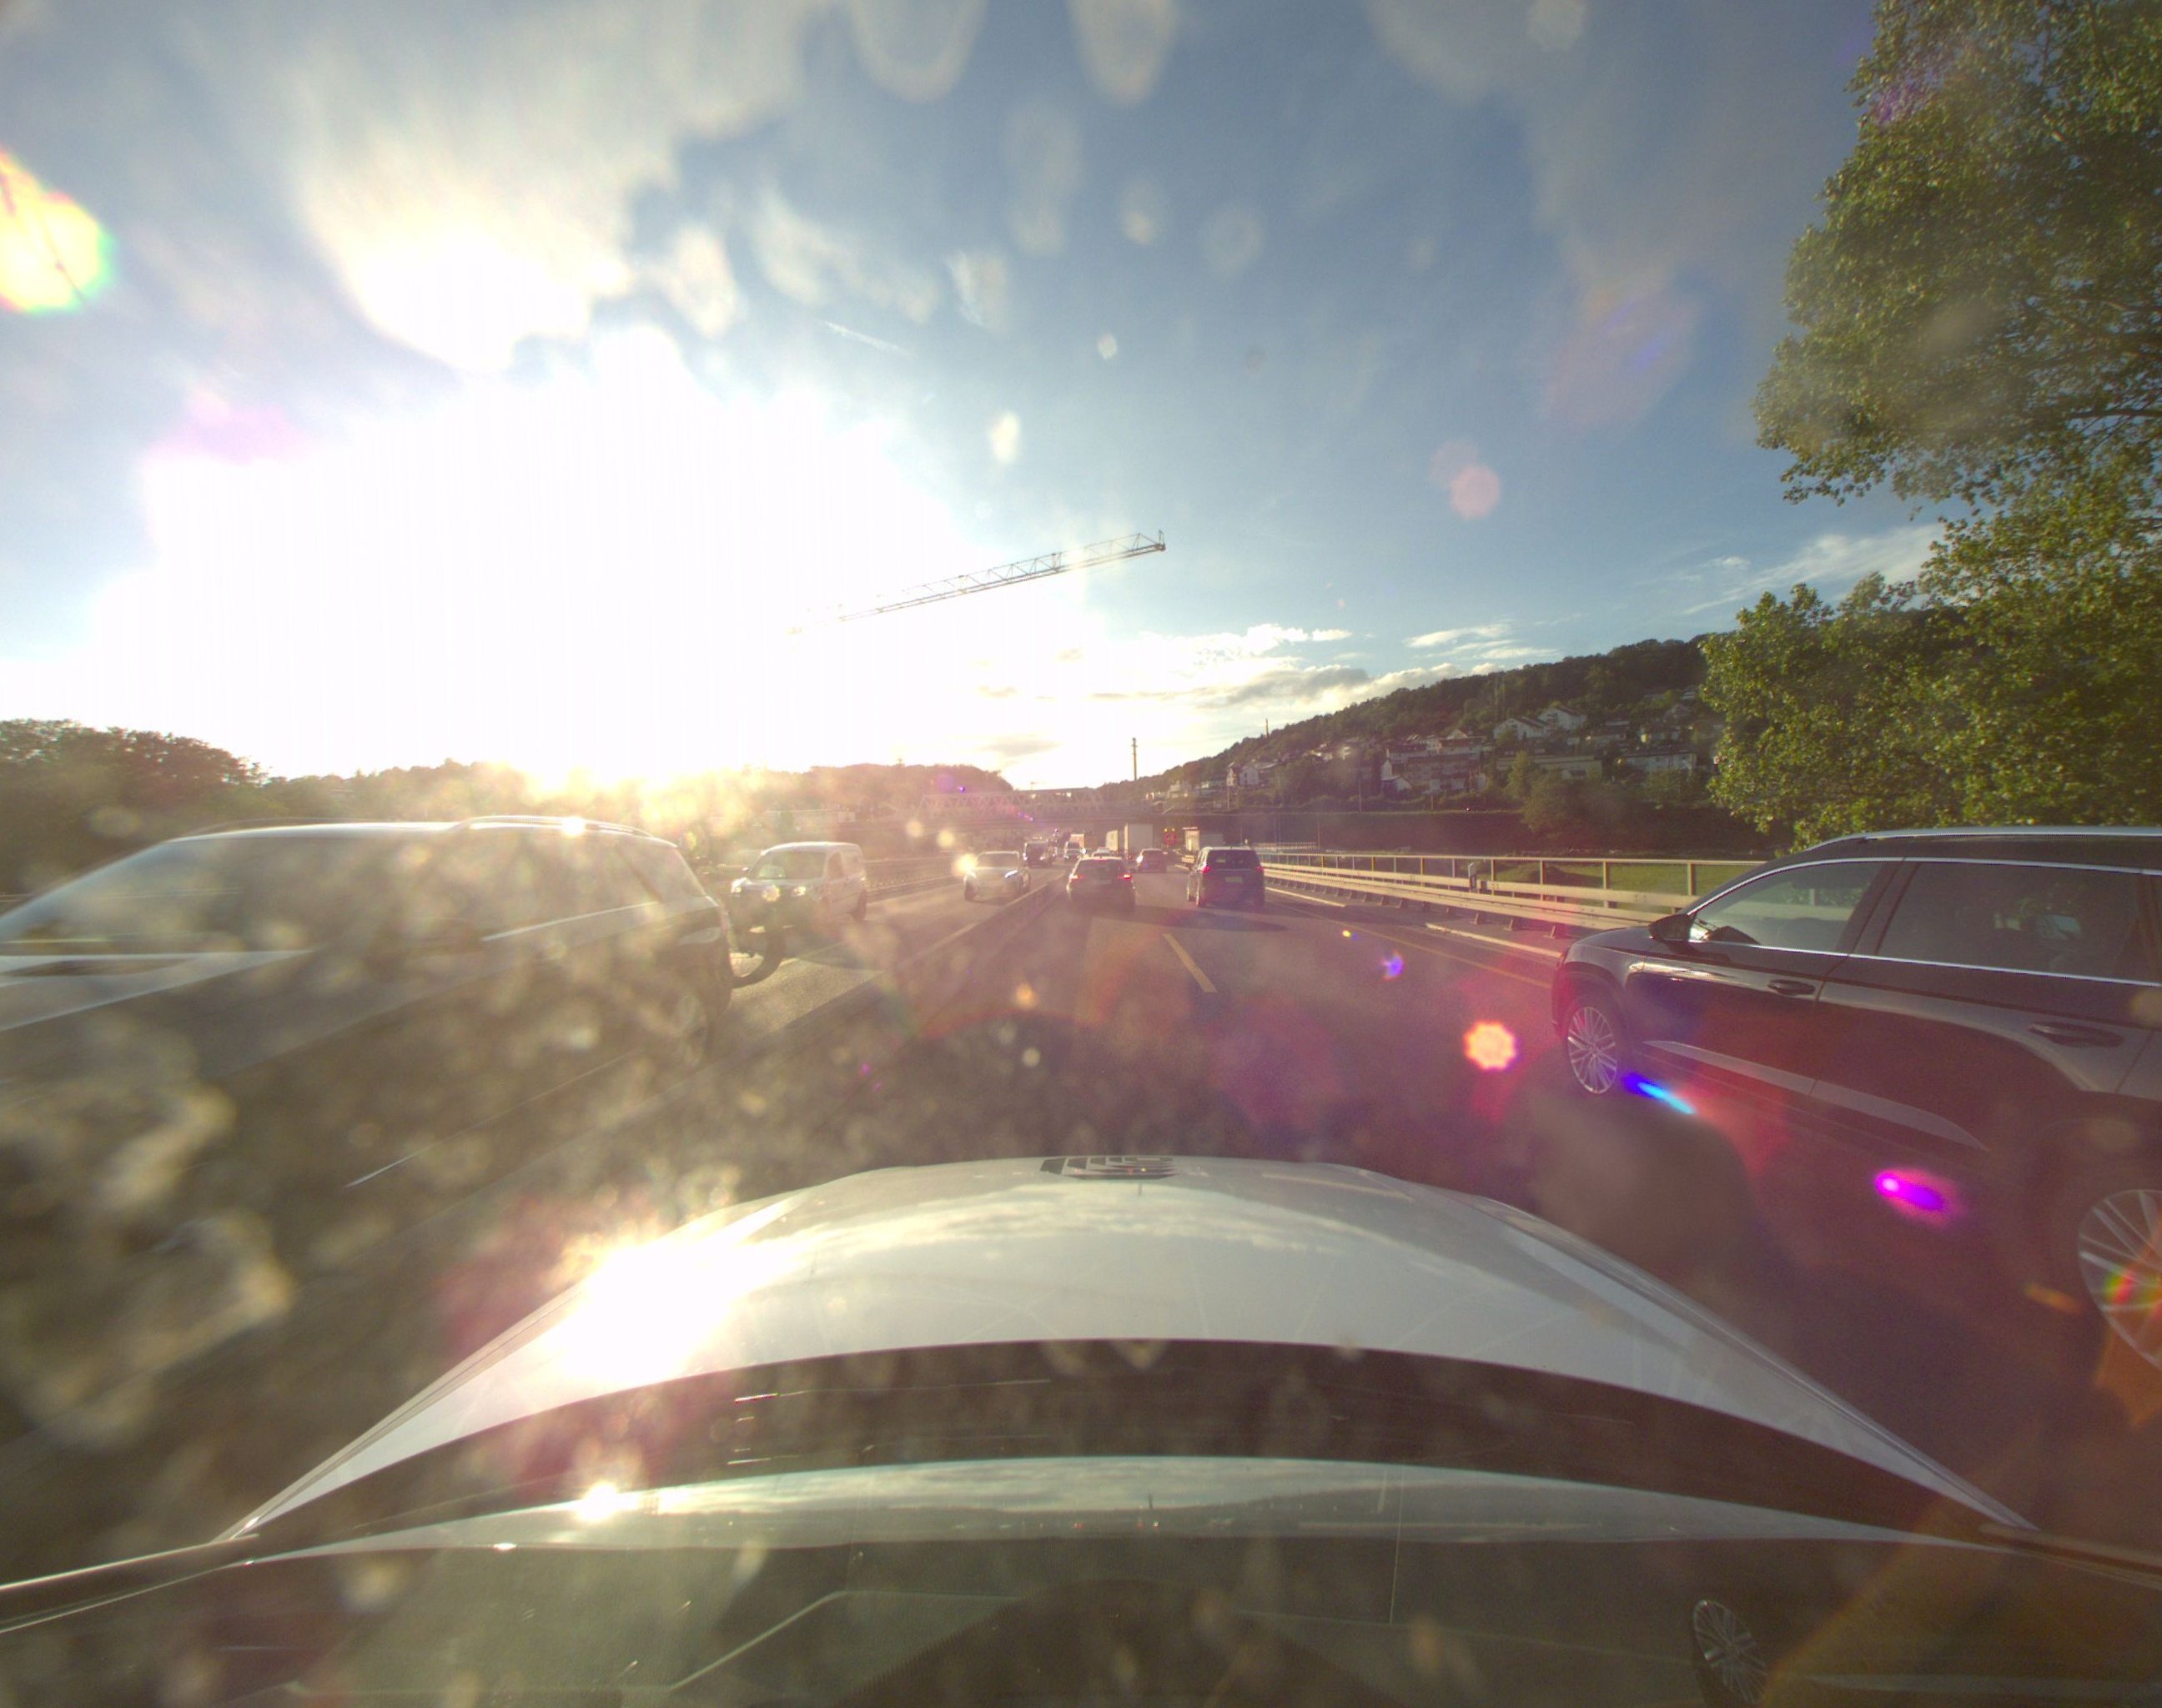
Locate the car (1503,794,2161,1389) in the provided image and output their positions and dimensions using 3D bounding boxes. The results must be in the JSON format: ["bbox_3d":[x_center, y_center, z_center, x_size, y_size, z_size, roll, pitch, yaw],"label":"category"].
[{"bbox_3d":[3.849,0.622,3.221,1.869,1.599,4.967,-1,0,1],"label":"car"}]

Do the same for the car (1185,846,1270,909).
[{"bbox_3d":[4.107,0.591,23.508,1.808,1.632,4.413,0,0,2],"label":"car"}]

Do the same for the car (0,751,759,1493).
[{"bbox_3d":[-3.506,0.628,4.070,1.923,1.754,4.672,0,0,0],"label":"car"}]

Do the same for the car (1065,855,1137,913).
[{"bbox_3d":[0.521,0.739,21.883,1.764,1.390,4.000,0,0,1],"label":"car"}]

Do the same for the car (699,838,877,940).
[{"bbox_3d":[-6.054,0.648,17.479,1.985,1.856,4.286,2,0,3],"label":"car"}]

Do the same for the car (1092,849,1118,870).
[{"bbox_3d":[1.664,0.374,58.493,1.759,1.486,4.000,1,0,0],"label":"car"}]

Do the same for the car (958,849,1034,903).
[{"bbox_3d":[-2.766,0.679,27.389,1.830,1.640,4.004,-2,0,4],"label":"car"}]

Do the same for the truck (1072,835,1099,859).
[{"bbox_3d":[0.803,-1.455,161.303,3.886,4.497,13.818,0,1,-7],"label":"truck"}]

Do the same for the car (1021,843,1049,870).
[{"bbox_3d":[-4.063,0.178,72.652,1.986,2.323,5.936,0,0,1],"label":"car"}]

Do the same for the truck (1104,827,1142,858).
[{"bbox_3d":[6.184,-1.713,124.305,3.884,4.498,15.242,0,0,-5],"label":"truck"}]

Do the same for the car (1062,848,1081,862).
[{"bbox_3d":[-1.056,0.095,88.149,1.988,1.530,5.779,0,0,-1],"label":"car"}]

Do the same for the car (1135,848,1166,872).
[{"bbox_3d":[4.768,0.399,56.102,1.764,1.552,3.999,1,0,-1],"label":"car"}]

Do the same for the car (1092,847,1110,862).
[{"bbox_3d":[1.988,0.030,81.232,1.758,1.486,4.002,1,0,2],"label":"car"}]

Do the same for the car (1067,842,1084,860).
[{"bbox_3d":[-0.899,-0.453,119.950,2.070,2.458,6.257,0,0,-4],"label":"car"}]

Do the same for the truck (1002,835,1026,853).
[{"bbox_3d":[-15.170,-2.223,183.335,2.941,3.890,10.194,-1,1,-20],"label":"truck"}]

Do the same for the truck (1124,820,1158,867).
[{"bbox_3d":[6.282,-1.059,87.295,3.371,4.498,15.279,0,0,3],"label":"truck"}]
